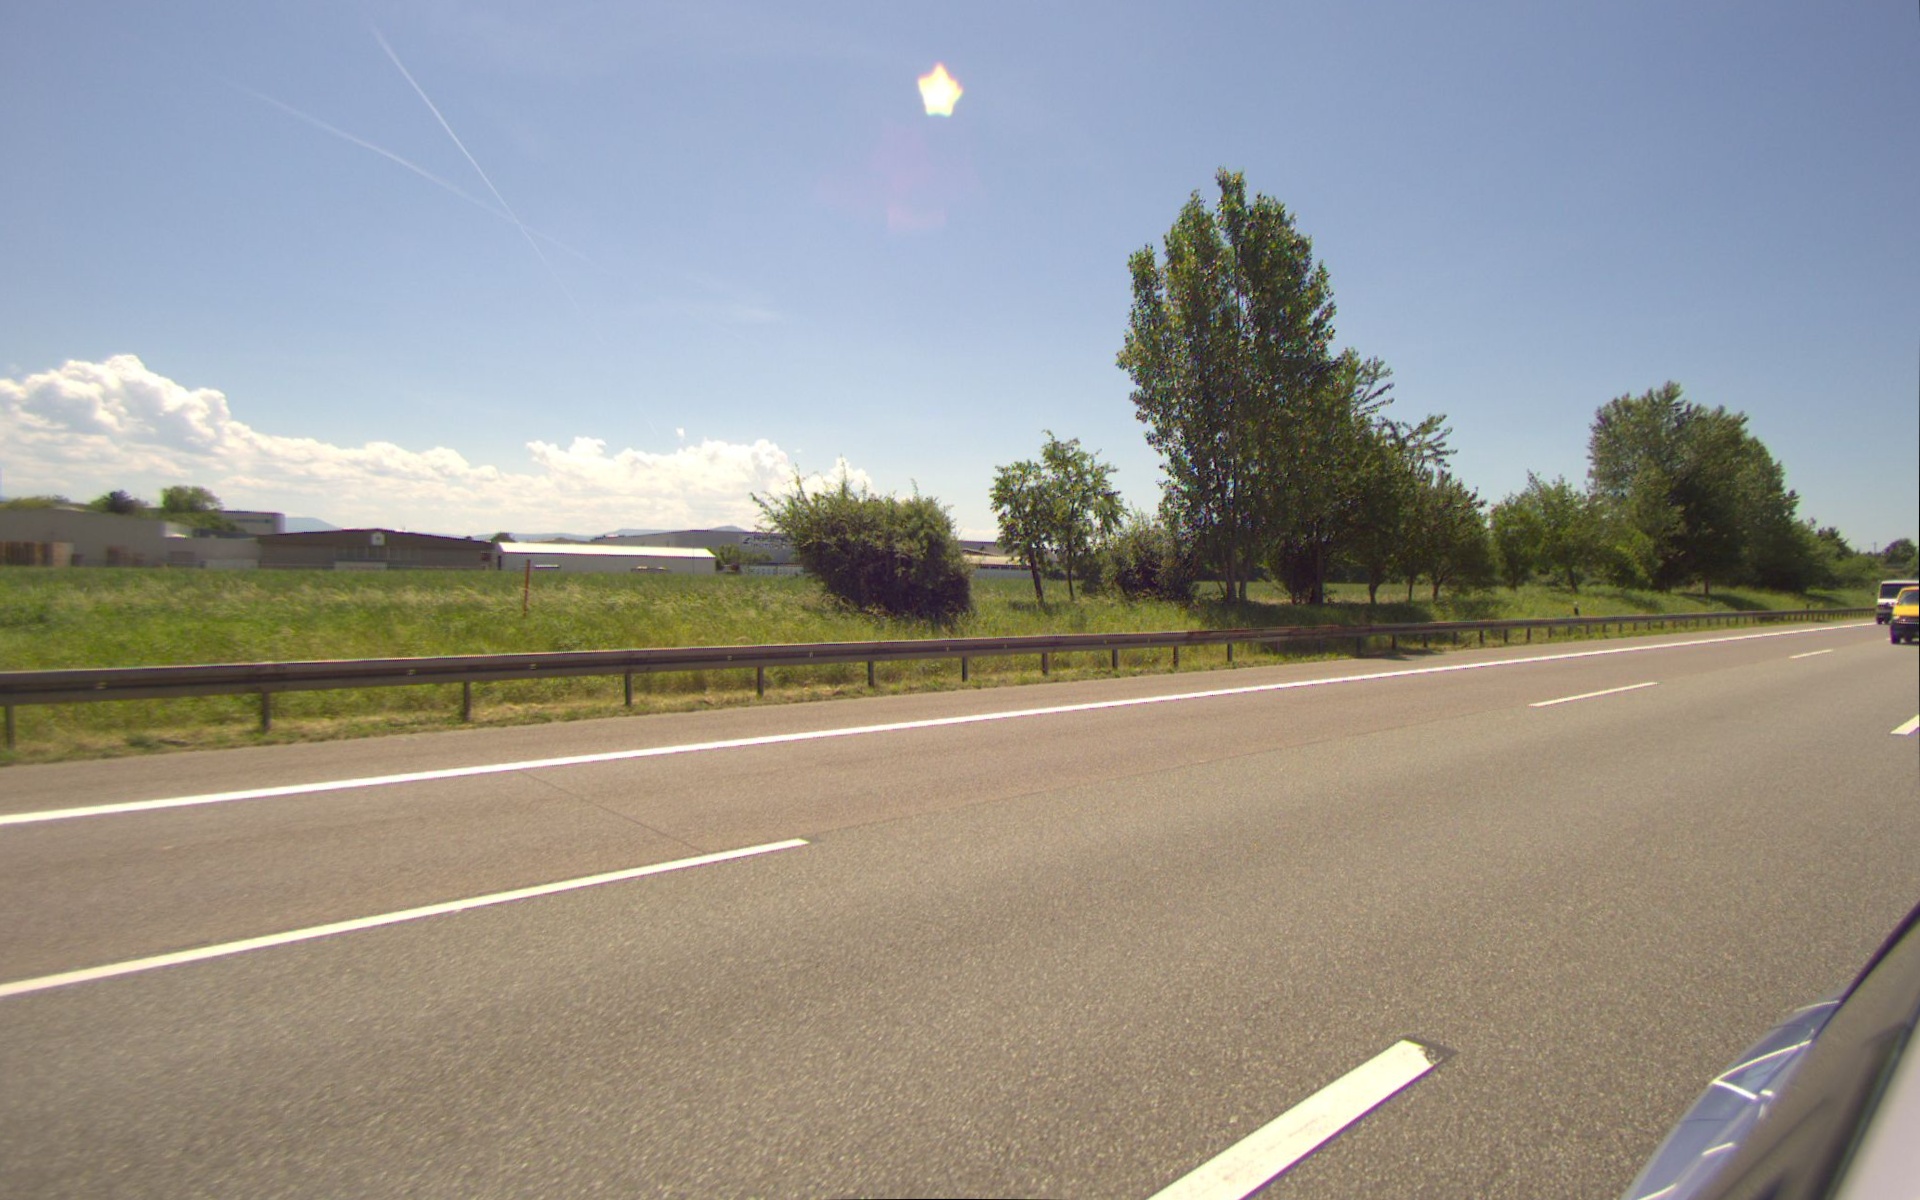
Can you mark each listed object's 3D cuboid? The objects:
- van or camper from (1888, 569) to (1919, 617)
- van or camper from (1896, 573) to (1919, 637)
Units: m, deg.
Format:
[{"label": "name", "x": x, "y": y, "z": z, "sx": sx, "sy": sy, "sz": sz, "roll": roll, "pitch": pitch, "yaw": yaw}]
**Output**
[{"label": "van or camper", "x": 57.043, "y": -0.432, "z": 60.215, "sx": 6.258, "sy": 2.737, "sz": 2.116, "roll": 0, "pitch": 0, "yaw": -42}, {"label": "van or camper", "x": 33.274, "y": 0.157, "z": 33.995, "sx": 5.781, "sy": 2.029, "sz": 2.062, "roll": 0, "pitch": 1, "yaw": -41}]
